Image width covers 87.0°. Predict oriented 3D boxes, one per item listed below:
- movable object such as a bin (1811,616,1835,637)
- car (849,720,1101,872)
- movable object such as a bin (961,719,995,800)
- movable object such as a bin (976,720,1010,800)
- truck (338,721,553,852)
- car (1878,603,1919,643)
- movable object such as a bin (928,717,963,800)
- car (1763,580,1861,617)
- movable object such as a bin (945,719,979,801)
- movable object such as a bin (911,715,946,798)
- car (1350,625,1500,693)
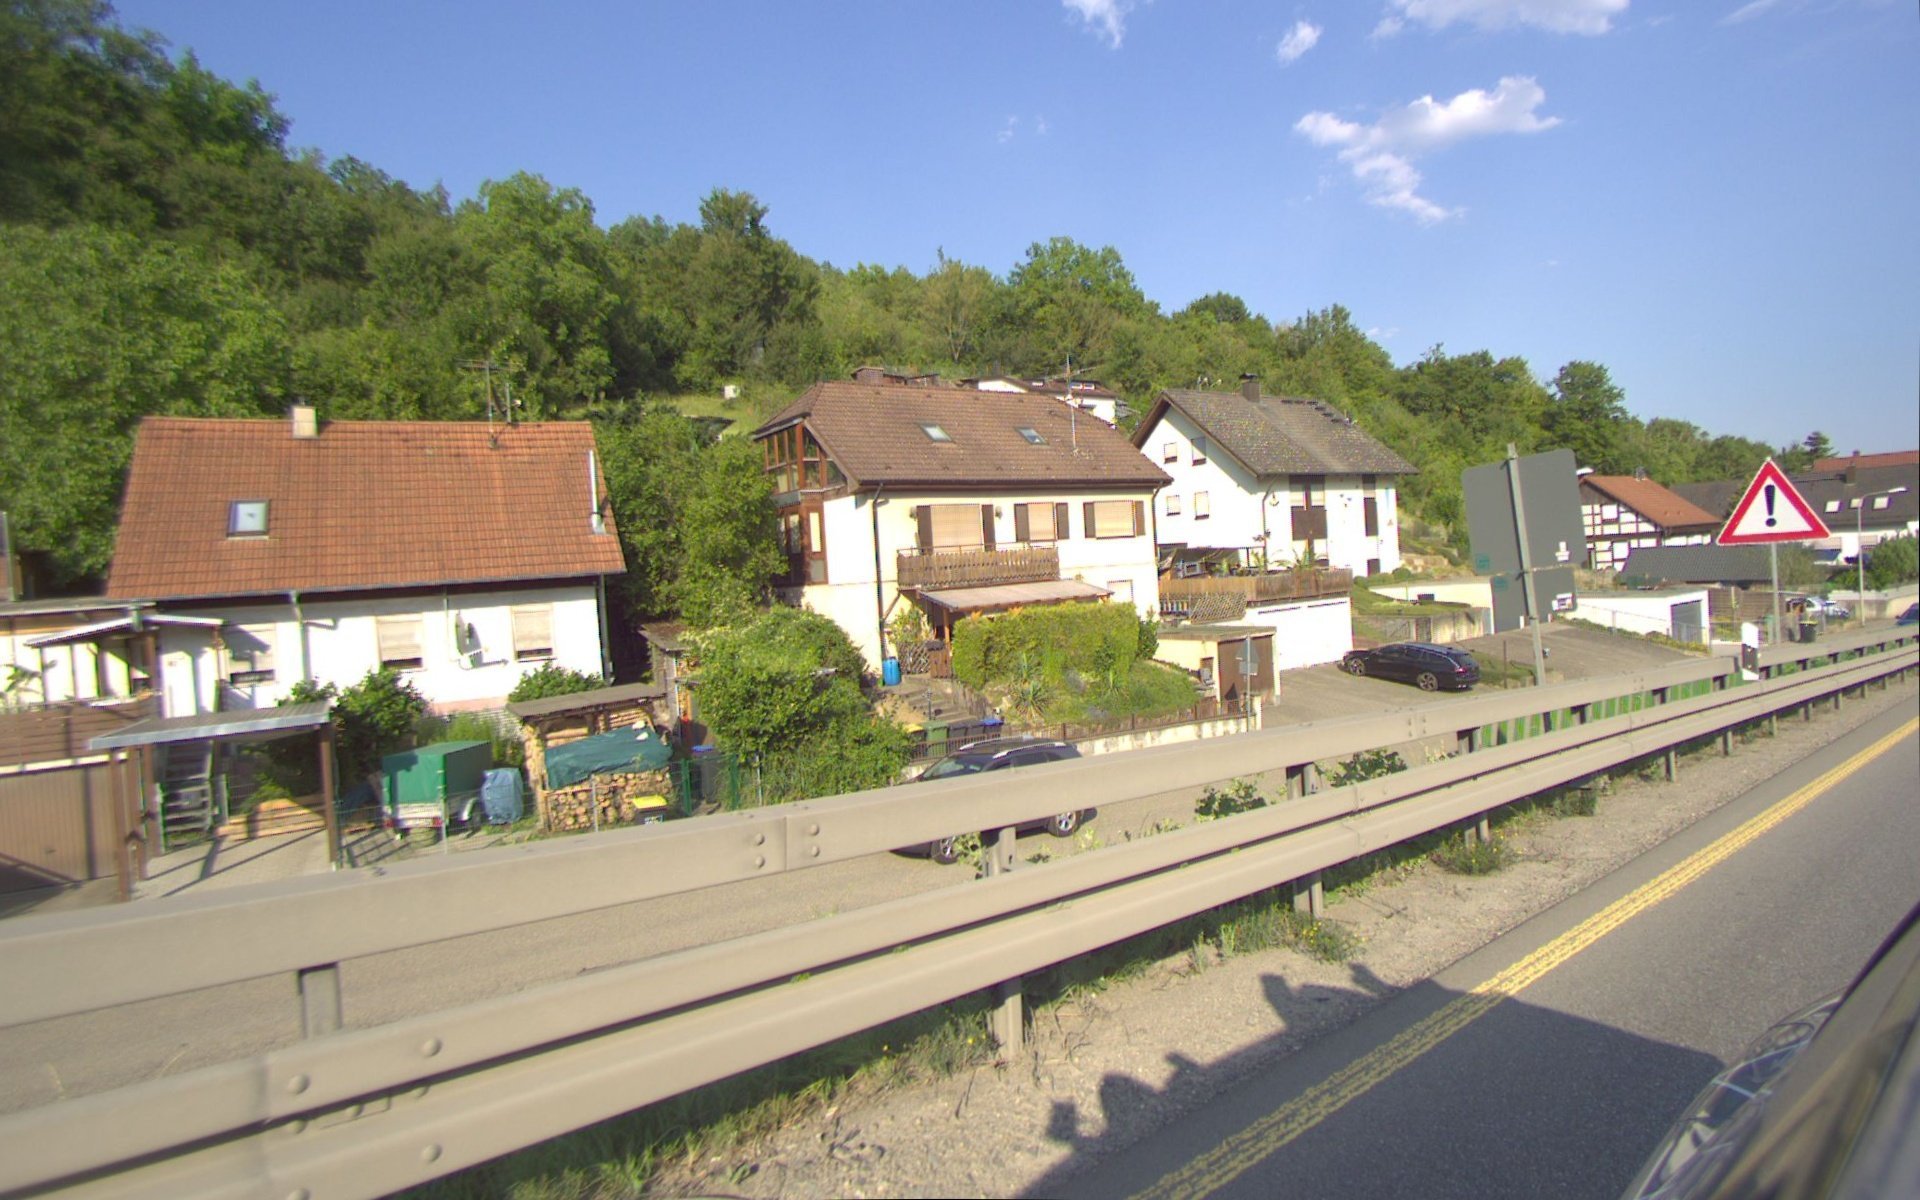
[{"bbox_3d":[41.482,1.273,48.635,0.665,1.013,0.724,-1,0,-37],"label":"movable object such as a bin"},{"bbox_3d":[0.341,3.517,18.903,4.413,1.806,1.869,-3,3,-33],"label":"car"},{"bbox_3d":[0.406,3.677,23.384,0.406,1.794,0.491,-3,-8,-29],"label":"movable object such as a bin"},{"bbox_3d":[0.766,3.719,23.597,0.406,1.794,0.491,-3,-8,-29],"label":"movable object such as a bin"},{"bbox_3d":[-10.274,3.681,20.599,1.966,1.759,3.993,-7,-1,5],"label":"truck"},{"bbox_3d":[47.306,1.142,49.943,3.543,1.620,1.774,5,-9,-29],"label":"car"},{"bbox_3d":[-0.337,3.592,22.994,0.400,1.794,0.537,-3,-8,-29],"label":"movable object such as a bin"},{"bbox_3d":[49.764,-0.126,59.177,1.718,1.860,4.001,-3,5,-35],"label":"car"},{"bbox_3d":[0.044,3.658,23.197,0.406,1.794,0.491,-3,-8,-29],"label":"movable object such as a bin"},{"bbox_3d":[-0.715,3.526,22.801,0.408,1.794,0.531,-3,-8,-29],"label":"movable object such as a bin"},{"bbox_3d":[16.693,2.047,36.543,1.962,1.542,4.516,-3,9,-33],"label":"car"}]
